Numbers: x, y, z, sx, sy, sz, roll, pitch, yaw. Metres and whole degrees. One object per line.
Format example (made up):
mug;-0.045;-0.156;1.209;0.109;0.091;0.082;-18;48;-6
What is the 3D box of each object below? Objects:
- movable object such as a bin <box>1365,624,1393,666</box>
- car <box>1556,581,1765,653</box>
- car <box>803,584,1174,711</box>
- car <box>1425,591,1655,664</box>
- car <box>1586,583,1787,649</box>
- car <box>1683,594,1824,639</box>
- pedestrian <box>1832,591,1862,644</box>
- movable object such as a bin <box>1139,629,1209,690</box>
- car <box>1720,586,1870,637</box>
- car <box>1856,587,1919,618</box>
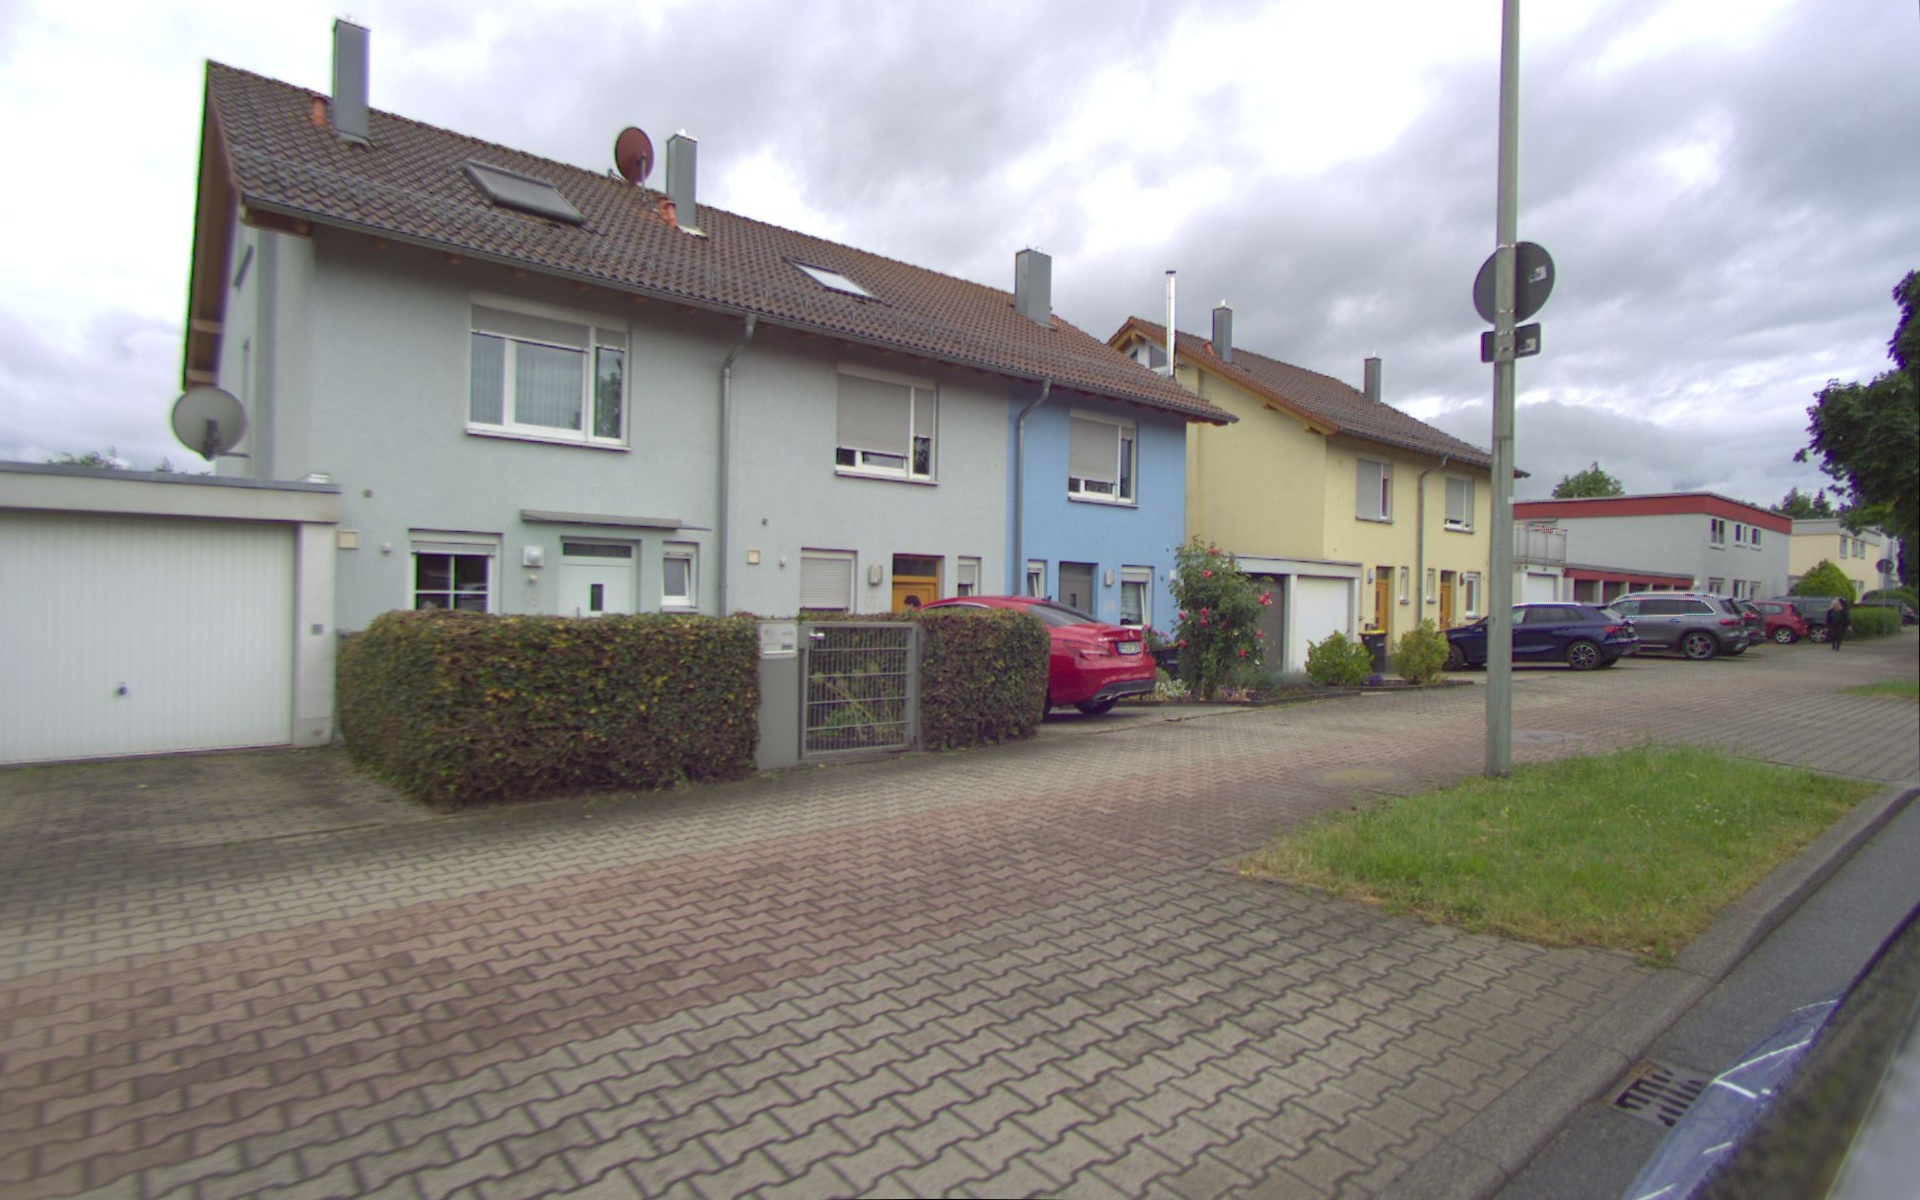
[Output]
movable object such as a bin;9.564;1.021;23.096;0.474;0.934;0.367;-2;0;7
car;17.925;0.465;26.021;4.177;1.693;1.695;-2;-2;43
car;0.229;0.508;12.109;4.291;1.277;1.657;-1;-1;37
car;12.498;0.641;21.982;1.647;1.406;3.987;1;-4;-44
car;20.032;0.381;28.037;1.956;1.692;4.189;0;1;-39
car;28.103;0.536;35.913;1.677;1.460;3.698;0;1;-41
pedestrian;27.137;0.529;30.954;0.664;1.577;0.829;0;0;44
movable object such as a bin;3.741;1.017;17.669;0.802;0.976;0.895;0;0;-40
car;30.494;0.363;37.041;1.891;1.742;3.993;0;1;-41
car;52.627;0.147;56.591;1.733;1.551;3.617;0;3;-43
